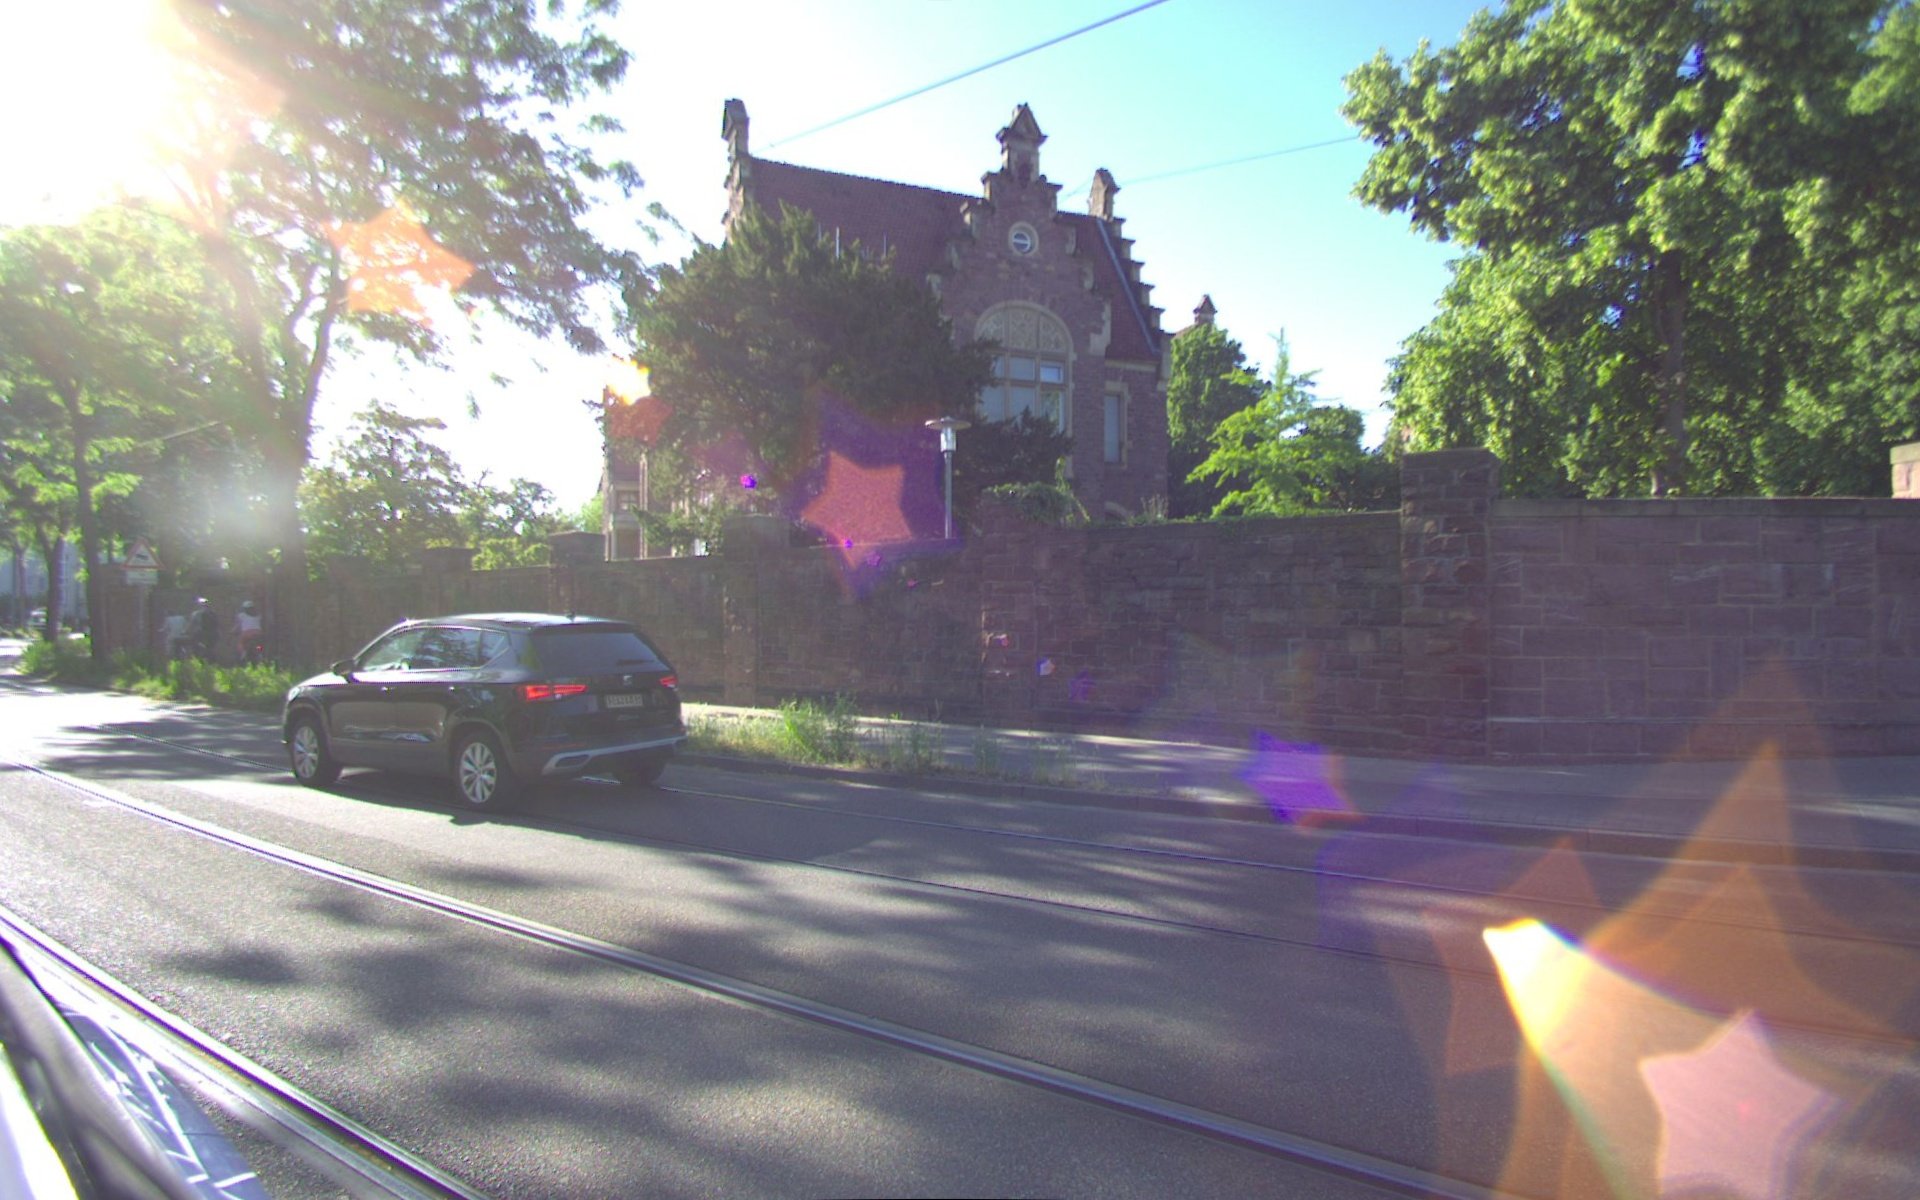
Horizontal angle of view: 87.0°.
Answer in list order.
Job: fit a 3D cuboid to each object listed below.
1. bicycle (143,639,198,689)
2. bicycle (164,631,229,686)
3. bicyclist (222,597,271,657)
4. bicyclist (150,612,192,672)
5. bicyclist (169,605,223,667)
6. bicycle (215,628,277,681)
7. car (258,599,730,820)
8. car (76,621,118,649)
[{"bbox_3d":[-20.905,1.670,26.791,2.086,1.200,0.737,-1,0,40],"label":"bicycle"},{"bbox_3d":[-17.912,1.338,23.716,2.101,1.200,0.764,-1,0,40],"label":"bicycle"},{"bbox_3d":[-17.236,0.634,24.445,1.060,1.401,0.724,-1,0,40],"label":"bicyclist"},{"bbox_3d":[-20.860,1.100,26.753,0.751,1.546,0.735,-1,0,40],"label":"bicyclist"},{"bbox_3d":[-17.891,0.827,23.692,1.271,1.401,0.758,-1,0,40],"label":"bicyclist"},{"bbox_3d":[-17.310,1.304,24.503,2.086,1.200,0.724,-1,0,40],"label":"bicycle"},{"bbox_3d":[-4.329,0.895,9.311,4.100,1.629,1.908,-3,-2,29],"label":"car"},{"bbox_3d":[-58.574,2.340,68.732,1.803,1.824,4.009,1,-1,-36],"label":"car"}]
